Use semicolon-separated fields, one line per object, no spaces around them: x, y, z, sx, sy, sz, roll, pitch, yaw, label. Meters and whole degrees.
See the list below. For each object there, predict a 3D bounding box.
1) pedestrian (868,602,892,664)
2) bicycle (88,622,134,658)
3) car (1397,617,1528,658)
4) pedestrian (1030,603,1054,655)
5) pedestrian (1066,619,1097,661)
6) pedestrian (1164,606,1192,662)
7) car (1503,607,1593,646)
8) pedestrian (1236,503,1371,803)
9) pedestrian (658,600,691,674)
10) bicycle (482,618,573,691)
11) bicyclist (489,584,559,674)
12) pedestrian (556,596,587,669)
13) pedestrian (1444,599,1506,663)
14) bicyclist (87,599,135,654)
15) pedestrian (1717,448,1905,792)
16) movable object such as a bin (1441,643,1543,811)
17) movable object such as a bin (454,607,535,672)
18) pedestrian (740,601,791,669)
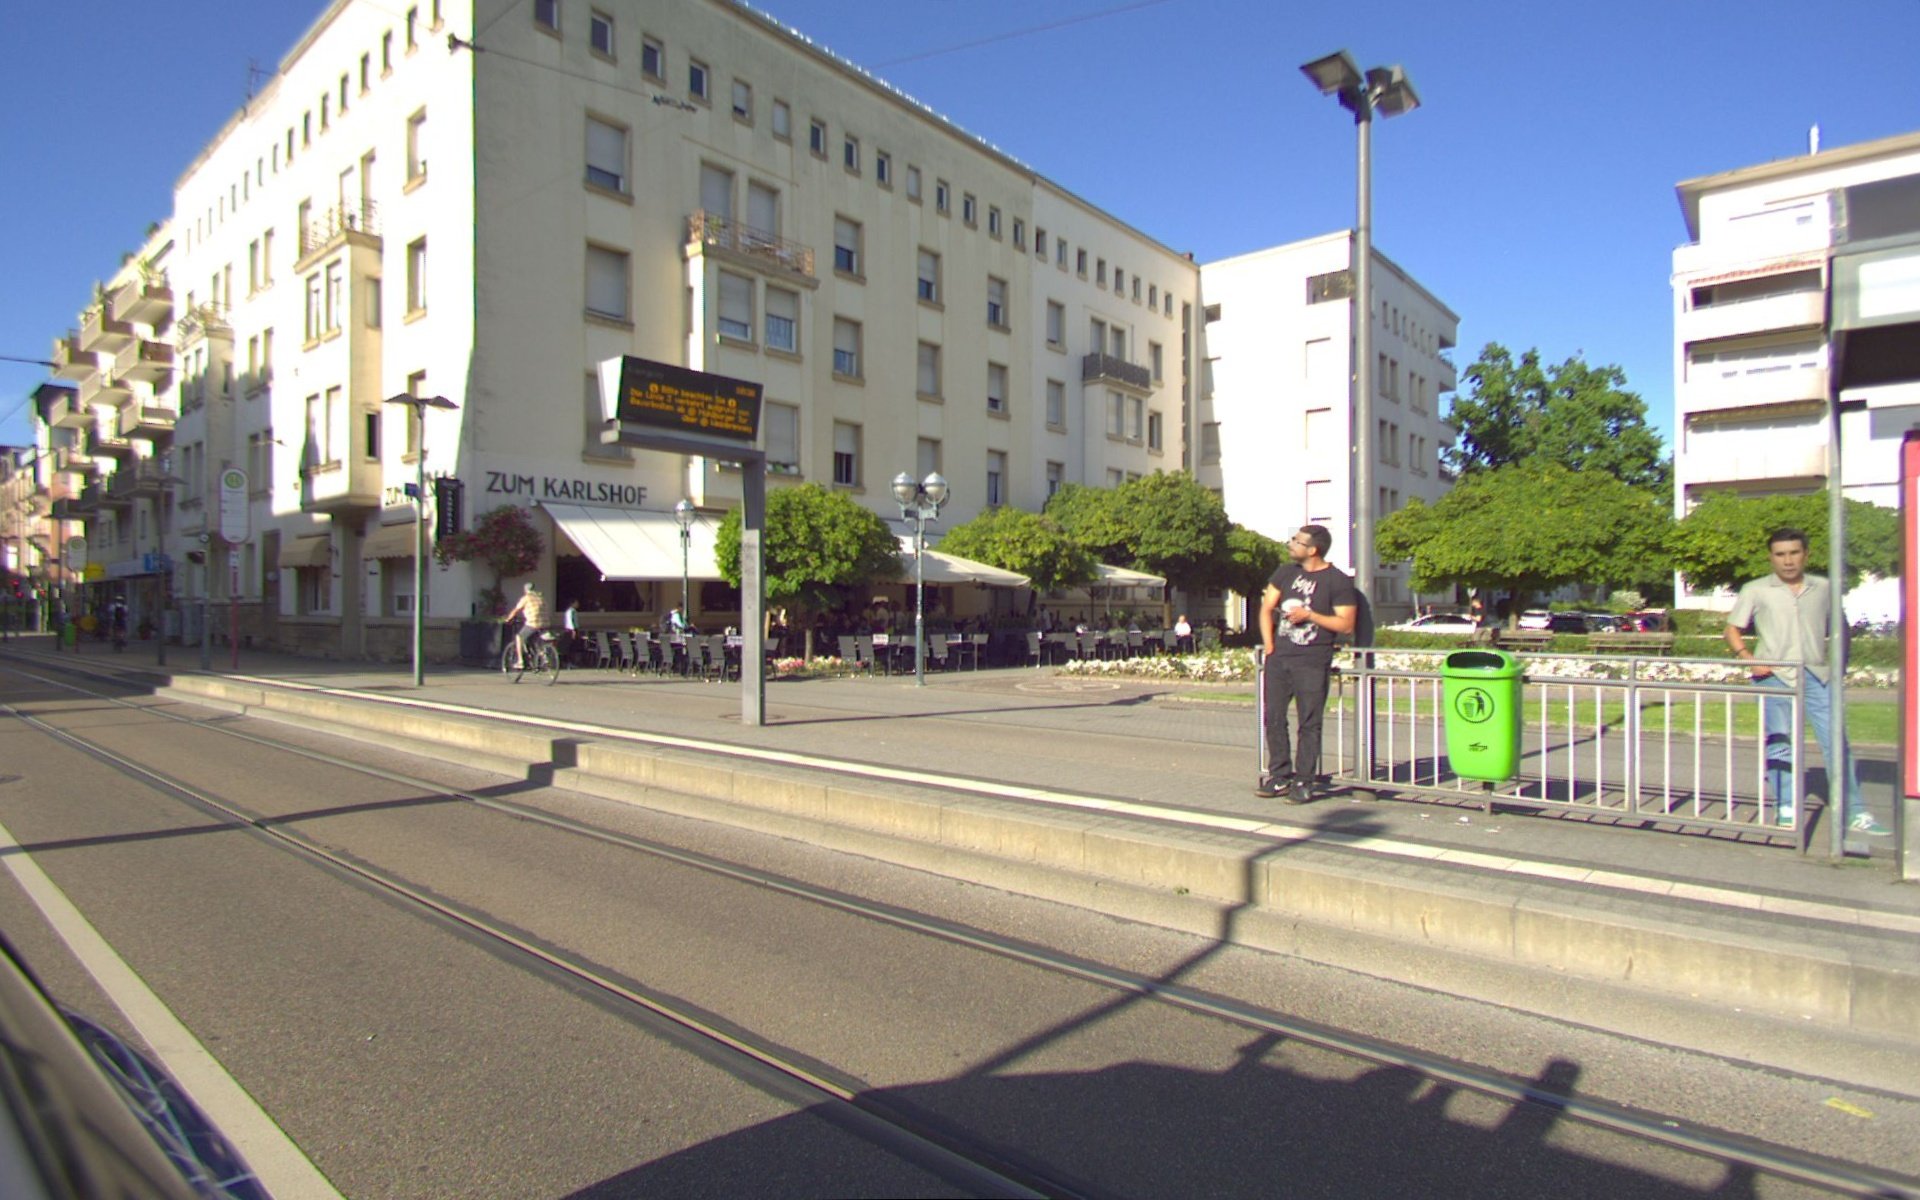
-2.401;0.968;30.282;0.641;1.837;0.576;0;-1;5;pedestrian
-28.529;1.327;33.998;2.032;1.134;0.705;-1;-1;36;bicycle
17.365;1.260;35.018;3.713;1.310;1.973;-1;-1;41;car
2.817;1.013;34.653;0.677;1.750;0.671;-2;-4;14;pedestrian
3.733;1.238;31.139;0.672;1.280;0.636;-4;-5;36;pedestrian
7.012;1.098;32.545;0.710;1.750;0.673;-2;-4;1;pedestrian
23.665;1.058;40.763;2.932;1.497;1.399;-1;-1;41;car
2.127;0.316;6.262;0.607;1.731;0.542;-1;-3;43;pedestrian
-6.470;0.844;22.931;0.663;1.657;0.678;-1;-4;-12;pedestrian
-7.297;0.882;17.024;1.977;1.121;0.720;0;0;44;bicycle
-7.358;0.475;17.071;0.877;1.466;0.818;0;0;44;bicyclist
-9.001;0.754;23.433;0.662;1.657;0.753;0;-4;-22;pedestrian
14.944;0.881;29.361;1.063;1.801;1.181;0;-1;-25;pedestrian
-28.507;0.895;33.979;1.093;1.807;0.995;-1;-1;36;bicyclist
4.825;0.118;5.751;0.769;1.788;0.608;-1;-4;43;pedestrian
2.940;0.678;5.596;0.416;0.866;0.332;-1;-1;44;movable object such as a bin
-10.495;0.868;22.822;1.127;1.410;1.302;-1;-1;40;movable object such as a bin
-4.897;0.869;25.544;0.755;1.657;1.054;-1;-1;36;pedestrian
